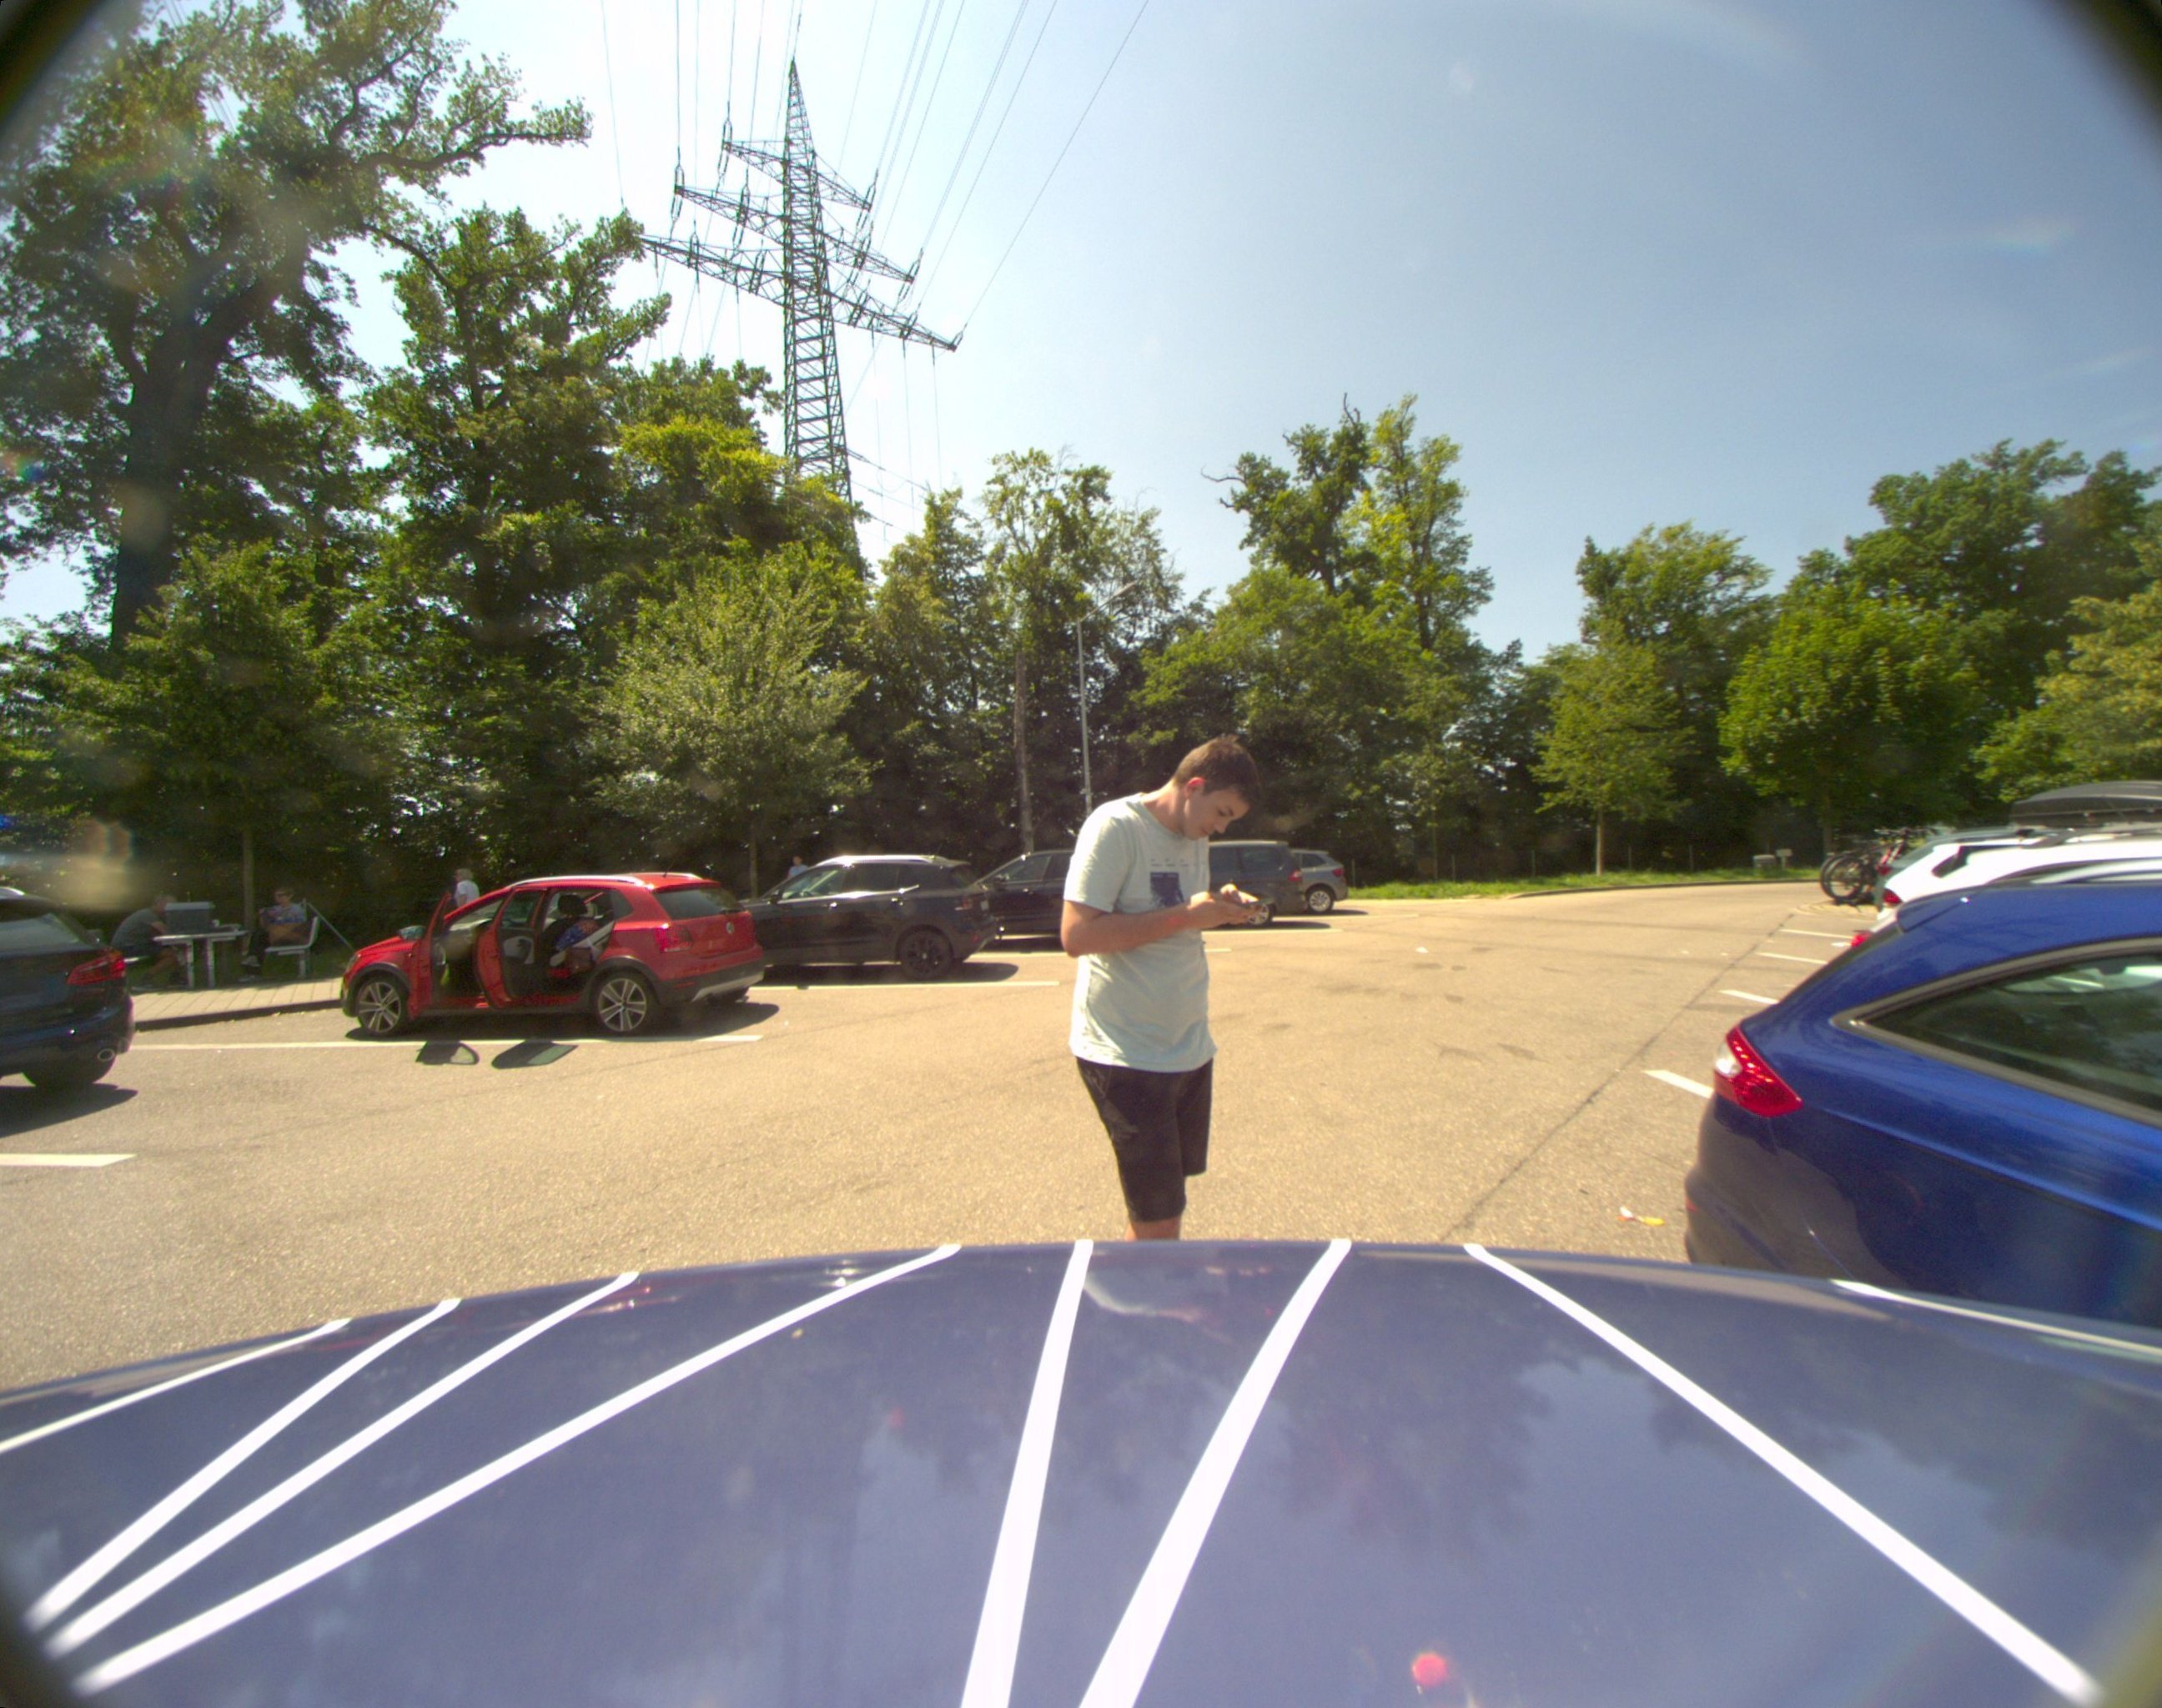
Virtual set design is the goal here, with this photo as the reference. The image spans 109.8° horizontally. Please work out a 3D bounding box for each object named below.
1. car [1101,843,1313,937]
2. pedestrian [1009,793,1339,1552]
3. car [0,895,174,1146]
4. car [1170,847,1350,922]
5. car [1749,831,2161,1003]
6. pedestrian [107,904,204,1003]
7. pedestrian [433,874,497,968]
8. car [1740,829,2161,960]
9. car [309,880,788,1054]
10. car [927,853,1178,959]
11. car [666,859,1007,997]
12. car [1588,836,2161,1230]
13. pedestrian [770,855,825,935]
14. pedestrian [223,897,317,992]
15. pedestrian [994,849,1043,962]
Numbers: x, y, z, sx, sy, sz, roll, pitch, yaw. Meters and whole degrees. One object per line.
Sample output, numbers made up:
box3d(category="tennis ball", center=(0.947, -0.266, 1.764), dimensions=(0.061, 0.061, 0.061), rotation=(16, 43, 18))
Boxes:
box3d(category="car", center=(2.497, 0.697, 15.445), dimensions=(3.964, 1.678, 1.781), rotation=(-2, 0, 7))
box3d(category="pedestrian", center=(0.214, 0.728, 2.013), dimensions=(0.687, 1.699, 0.578), rotation=(-2, 0, 1))
box3d(category="car", center=(-8.930, 1.158, 4.997), dimensions=(4.011, 1.558, 1.846), rotation=(-2, 0, 6))
box3d(category="car", center=(4.166, 0.714, 18.198), dimensions=(3.964, 1.577, 1.781), rotation=(-2, 0, 7))
box3d(category="car", center=(10.052, 0.533, 8.153), dimensions=(1.779, 1.456, 4.470), rotation=(-2, -1, 0))
box3d(category="pedestrian", center=(-12.750, 1.349, 10.471), dimensions=(0.652, 1.262, 0.672), rotation=(-2, 0, 24))
box3d(category="pedestrian", center=(-11.076, 1.172, 13.661), dimensions=(0.811, 1.584, 0.773), rotation=(-2, 0, -41))
box3d(category="car", center=(12.353, 0.476, 10.938), dimensions=(1.779, 1.456, 4.470), rotation=(-2, -1, 0))
box3d(category="car", center=(-5.205, 1.074, 7.715), dimensions=(3.704, 1.448, 1.781), rotation=(-2, 0, 7))
box3d(category="car", center=(-0.389, 0.843, 12.961), dimensions=(3.964, 1.582, 1.781), rotation=(-2, 0, 8))
box3d(category="car", center=(-3.158, 0.939, 10.375), dimensions=(3.966, 1.582, 1.841), rotation=(-2, 0, 3))
box3d(category="car", center=(4.894, 0.658, 3.711), dimensions=(1.779, 1.456, 4.470), rotation=(-2, -1, 0))
box3d(category="pedestrian", center=(-5.808, 0.827, 15.611), dimensions=(0.714, 1.584, 0.810), rotation=(-2, 0, 5))
box3d(category="pedestrian", center=(-11.849, 1.297, 11.110), dimensions=(0.828, 1.287, 0.672), rotation=(-2, 0, 24))
box3d(category="pedestrian", center=(-0.995, 0.812, 12.229), dimensions=(0.660, 1.745, 0.636), rotation=(-2, 0, 1))
